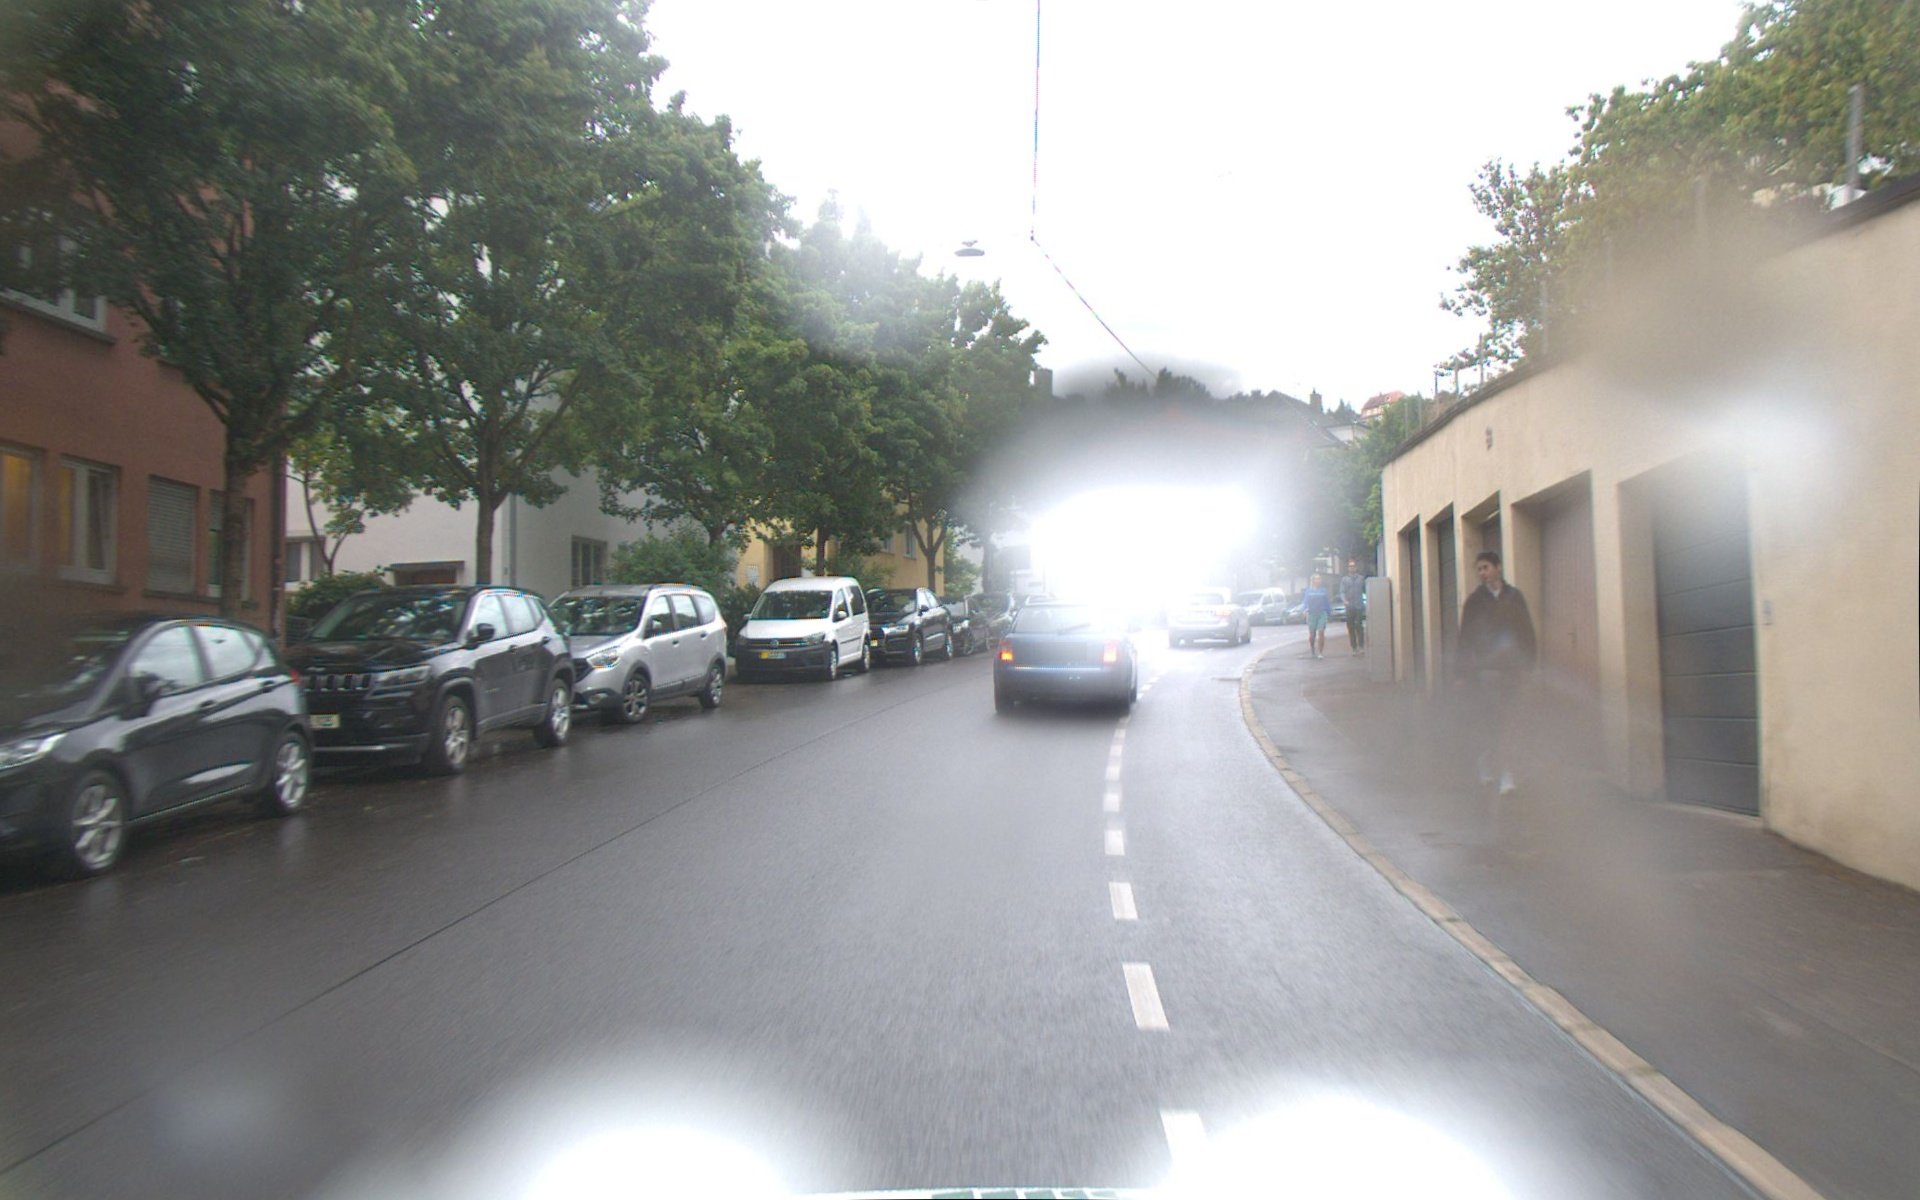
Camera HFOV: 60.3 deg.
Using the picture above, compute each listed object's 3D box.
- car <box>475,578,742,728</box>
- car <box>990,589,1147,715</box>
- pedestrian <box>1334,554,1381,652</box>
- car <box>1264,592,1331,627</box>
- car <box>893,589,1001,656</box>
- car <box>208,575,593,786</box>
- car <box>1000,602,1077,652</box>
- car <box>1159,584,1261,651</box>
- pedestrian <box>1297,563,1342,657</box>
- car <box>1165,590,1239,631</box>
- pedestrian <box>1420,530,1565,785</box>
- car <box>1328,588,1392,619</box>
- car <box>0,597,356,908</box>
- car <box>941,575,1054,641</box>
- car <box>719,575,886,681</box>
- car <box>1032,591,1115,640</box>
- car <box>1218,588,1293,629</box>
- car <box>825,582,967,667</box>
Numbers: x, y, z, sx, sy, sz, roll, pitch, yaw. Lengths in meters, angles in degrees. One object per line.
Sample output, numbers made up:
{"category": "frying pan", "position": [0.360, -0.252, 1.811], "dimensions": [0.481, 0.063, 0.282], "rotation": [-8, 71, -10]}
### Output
{"category": "car", "position": [-4.385, 0.606, 21.434], "dimensions": [1.709, 1.720, 4.604], "rotation": [-1, 0, 11]}
{"category": "car", "position": [1.521, 0.625, 21.869], "dimensions": [1.814, 1.438, 4.364], "rotation": [-2, 0, 6]}
{"category": "pedestrian", "position": [7.819, 0.062, 32.544], "dimensions": [0.759, 1.864, 1.252], "rotation": [-3, -1, 11]}
{"category": "car", "position": [16.432, 0.475, 80.421], "dimensions": [1.772, 1.511, 4.225], "rotation": [-5, -3, 31]}
{"category": "car", "position": [-0.256, 0.514, 40.872], "dimensions": [1.814, 1.525, 4.745], "rotation": [-1, 0, 10]}
{"category": "car", "position": [-4.995, 0.640, 15.507], "dimensions": [1.749, 1.670, 4.483], "rotation": [-1, 0, 5]}
{"category": "car", "position": [2.483, 0.797, 51.326], "dimensions": [1.579, 1.421, 4.326], "rotation": [-2, 0, 13]}
{"category": "car", "position": [6.517, 0.400, 42.851], "dimensions": [1.909, 1.588, 4.265], "rotation": [1, 1, 18]}
{"category": "pedestrian", "position": [7.111, 0.197, 32.743], "dimensions": [0.758, 1.789, 1.012], "rotation": [-3, -1, 11]}
{"category": "car", "position": [10.377, 0.473, 70.689], "dimensions": [1.750, 1.541, 4.340], "rotation": [-5, -4, 27]}
{"category": "pedestrian", "position": [4.077, 0.430, 12.730], "dimensions": [0.880, 1.883, 0.803], "rotation": [-1, 0, 6]}
{"category": "car", "position": [20.472, 0.206, 84.534], "dimensions": [1.772, 1.479, 4.584], "rotation": [-1, -1, 32]}
{"category": "car", "position": [-5.496, 0.758, 10.289], "dimensions": [1.750, 1.519, 4.362], "rotation": [-1, 0, 2]}
{"category": "car", "position": [1.100, 0.202, 46.318], "dimensions": [1.815, 1.720, 4.556], "rotation": [-1, 0, 19]}
{"category": "car", "position": [-2.797, 0.473, 30.504], "dimensions": [1.814, 1.808, 4.486], "rotation": [-1, 0, 12]}
{"category": "car", "position": [3.893, 0.501, 55.964], "dimensions": [1.738, 1.567, 4.518], "rotation": [-1, 0, 18]}
{"category": "car", "position": [13.562, 0.420, 75.826], "dimensions": [1.753, 1.675, 4.333], "rotation": [-6, -4, 33]}
{"category": "car", "position": [-1.309, 0.500, 35.871], "dimensions": [1.814, 1.697, 4.591], "rotation": [-1, 0, 14]}
